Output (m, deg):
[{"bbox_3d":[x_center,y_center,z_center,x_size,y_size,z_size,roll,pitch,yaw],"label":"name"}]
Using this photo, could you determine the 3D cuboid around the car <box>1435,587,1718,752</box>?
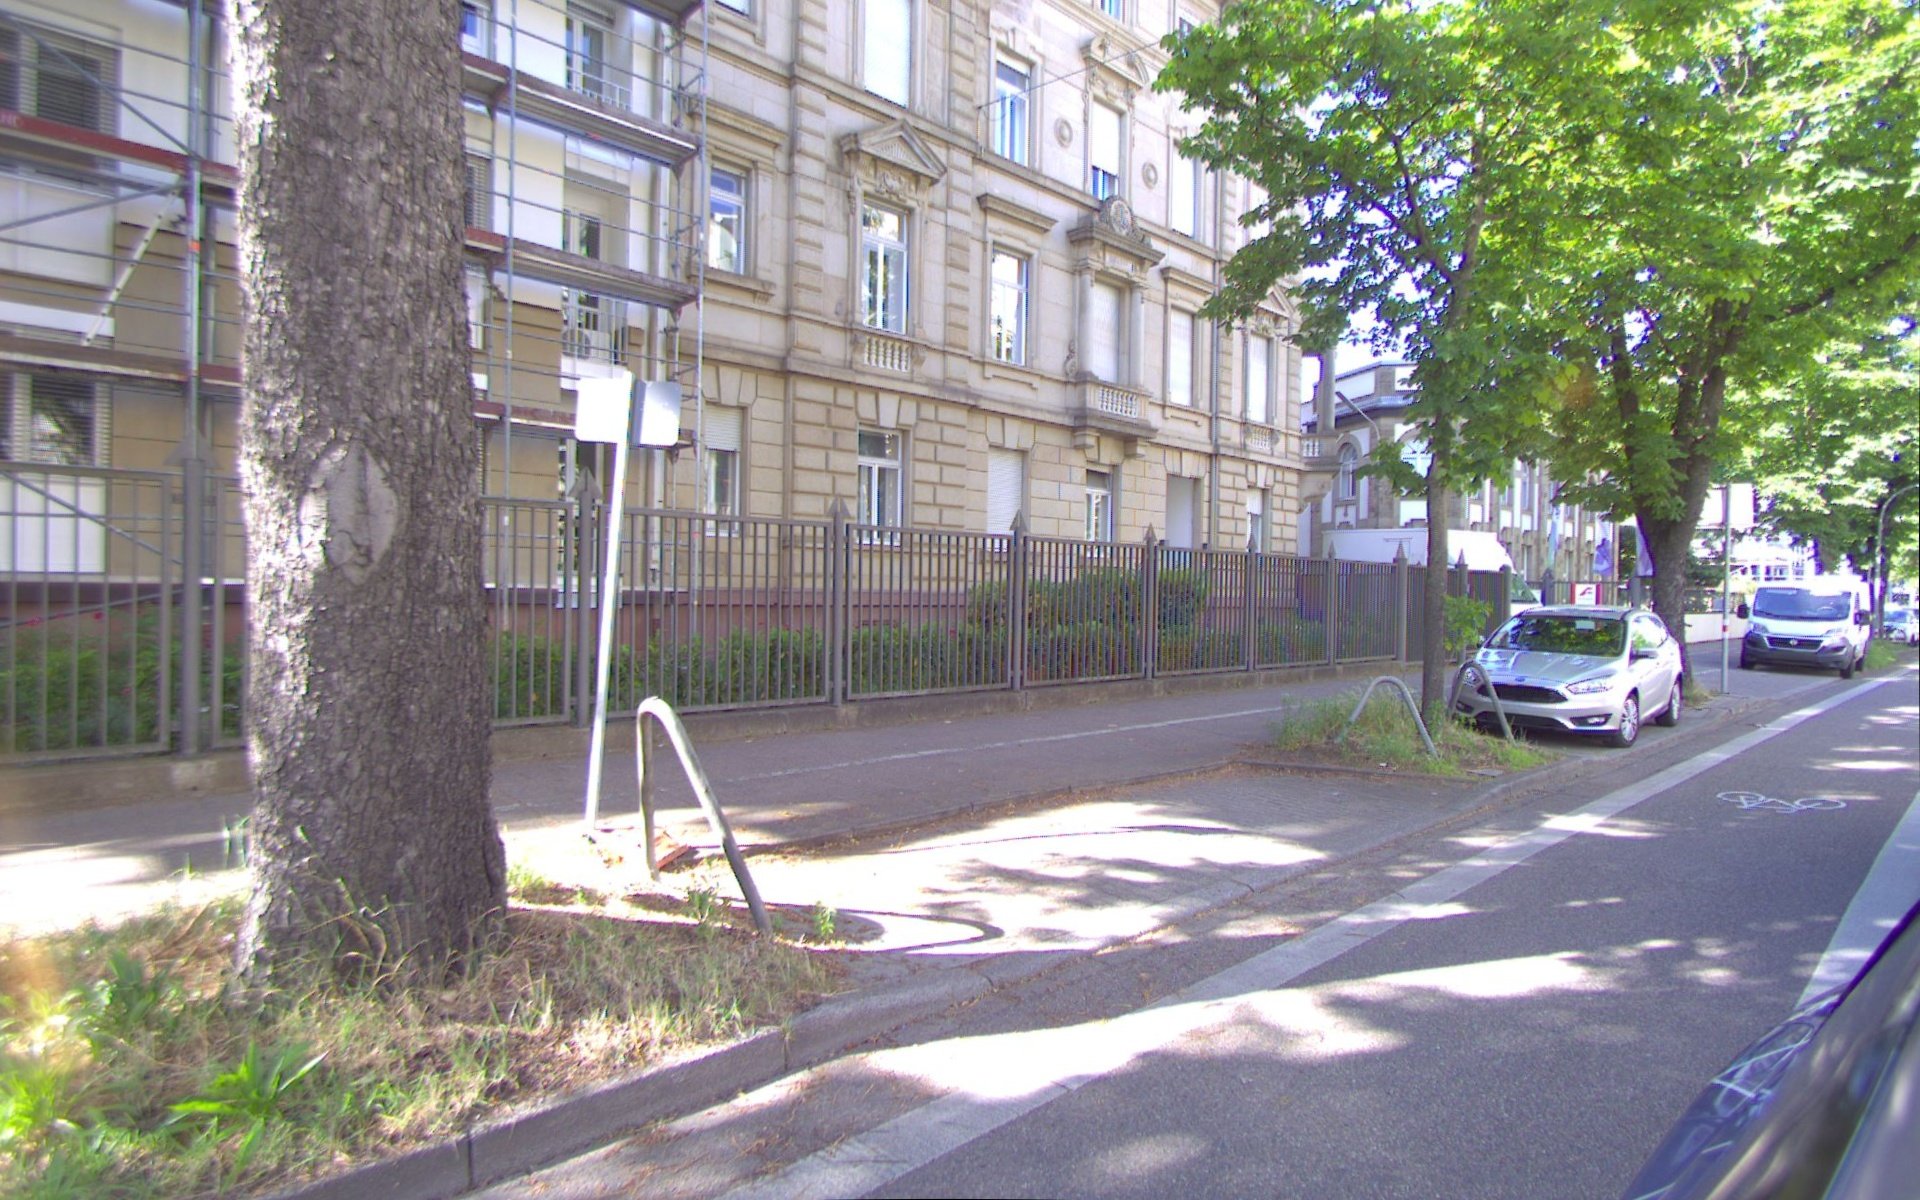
[{"bbox_3d":[7.583,0.666,12.266,4.294,1.562,1.874,-1,3,-44],"label":"car"}]

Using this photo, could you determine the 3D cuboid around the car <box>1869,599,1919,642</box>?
[{"bbox_3d":[37.434,0.776,40.080,4.035,1.569,1.863,-1,1,-44],"label":"car"}]

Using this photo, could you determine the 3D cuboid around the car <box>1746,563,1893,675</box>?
[{"bbox_3d":[20.978,0.351,24.596,5.710,2.371,2.129,-1,3,-44],"label":"car"}]

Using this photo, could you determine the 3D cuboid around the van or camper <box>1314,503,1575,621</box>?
[{"bbox_3d":[12.251,-0.889,26.375,2.078,2.660,6.751,0,0,-17],"label":"van or camper"}]
